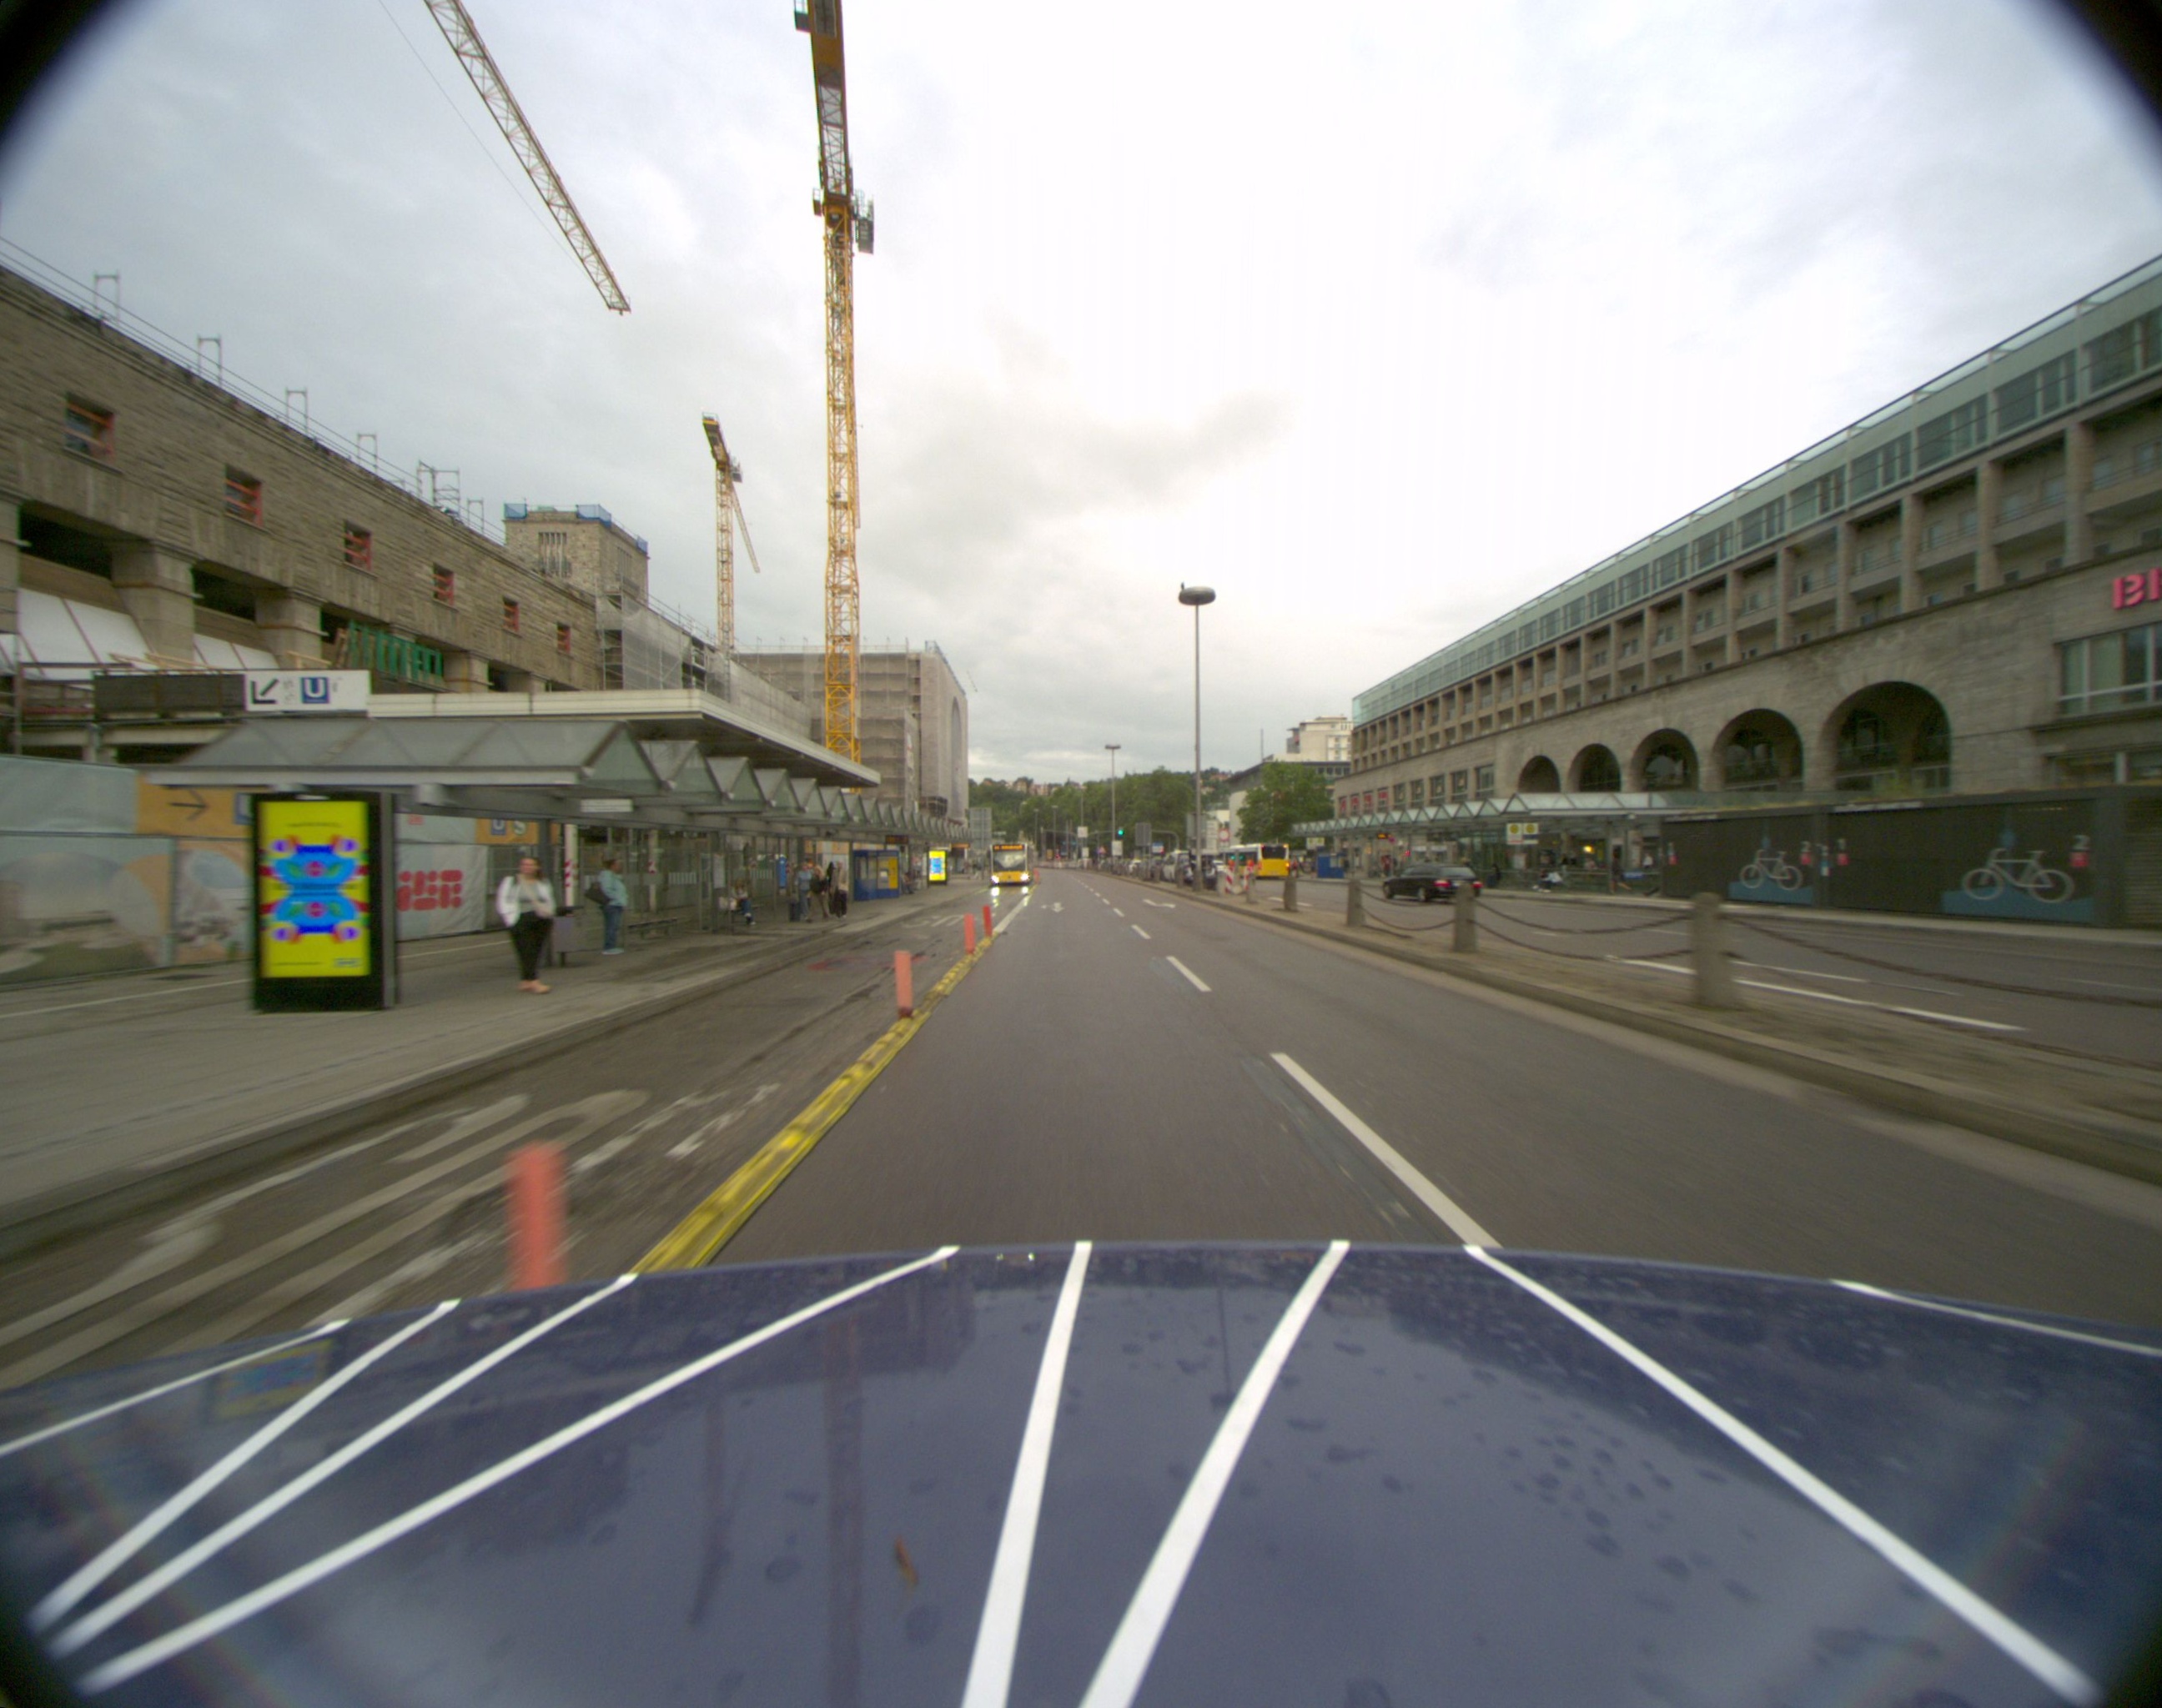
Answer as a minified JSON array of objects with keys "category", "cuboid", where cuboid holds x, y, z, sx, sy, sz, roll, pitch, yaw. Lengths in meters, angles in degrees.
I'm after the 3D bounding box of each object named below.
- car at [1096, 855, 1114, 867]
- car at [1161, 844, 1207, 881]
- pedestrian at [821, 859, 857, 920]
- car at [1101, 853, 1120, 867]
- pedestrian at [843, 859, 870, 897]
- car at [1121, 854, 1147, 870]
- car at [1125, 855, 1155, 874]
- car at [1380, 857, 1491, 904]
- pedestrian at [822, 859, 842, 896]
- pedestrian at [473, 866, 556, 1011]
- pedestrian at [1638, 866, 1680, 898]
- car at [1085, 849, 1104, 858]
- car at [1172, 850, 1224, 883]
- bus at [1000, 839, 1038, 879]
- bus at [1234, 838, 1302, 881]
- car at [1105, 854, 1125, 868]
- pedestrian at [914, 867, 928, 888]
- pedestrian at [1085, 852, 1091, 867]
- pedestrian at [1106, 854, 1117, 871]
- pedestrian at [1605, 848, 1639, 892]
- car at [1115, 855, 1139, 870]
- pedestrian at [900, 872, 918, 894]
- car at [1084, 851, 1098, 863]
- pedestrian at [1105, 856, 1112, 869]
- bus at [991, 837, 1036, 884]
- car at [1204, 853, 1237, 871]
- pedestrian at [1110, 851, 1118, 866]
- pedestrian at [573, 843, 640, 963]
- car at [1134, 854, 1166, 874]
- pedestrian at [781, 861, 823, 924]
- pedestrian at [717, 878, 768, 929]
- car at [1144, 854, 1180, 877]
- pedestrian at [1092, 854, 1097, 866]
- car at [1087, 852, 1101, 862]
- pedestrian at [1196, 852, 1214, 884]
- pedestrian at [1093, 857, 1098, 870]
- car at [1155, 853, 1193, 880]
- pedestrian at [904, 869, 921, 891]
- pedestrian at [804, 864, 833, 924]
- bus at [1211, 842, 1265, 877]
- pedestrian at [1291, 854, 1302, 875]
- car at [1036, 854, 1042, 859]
[{"category":"car","cuboid":[3.335,0.981,106.631,2.020,1.611,4.841,-1,0,-3]},{"category":"car","cuboid":[6.393,0.532,47.772,1.999,2.166,5.543,0,0,-1]},{"category":"pedestrian","cuboid":[-6.849,0.997,21.570,0.764,1.683,0.822,-1,0,-2]},{"category":"car","cuboid":[3.786,0.742,97.287,1.935,1.680,4.680,1,0,-3]},{"category":"pedestrian","cuboid":[-9.768,1.047,33.037,0.908,1.597,0.745,-2,0,-1]},{"category":"car","cuboid":[5.244,0.758,76.340,1.935,1.567,5.010,1,0,-4]},{"category":"car","cuboid":[5.403,0.936,70.193,1.982,1.649,5.190,1,0,-4]},{"category":"car","cuboid":[13.245,0.933,28.799,1.998,1.607,4.978,0,0,1]},{"category":"pedestrian","cuboid":[-10.699,1.000,32.651,0.709,1.598,0.729,0,0,-10]},{"category":"pedestrian","cuboid":[-6.916,0.991,9.312,0.704,1.669,0.721,-1,0,-28]},{"category":"pedestrian","cuboid":[22.130,1.050,29.093,0.581,1.175,1.261,-2,0,-2]},{"category":"car","cuboid":[3.524,-0.070,194.481,4.831,2.001,2.036,-2,-1,-1]},{"category":"car","cuboid":[6.380,0.674,41.946,1.999,1.712,4.781,0,0,-1]},{"category":"bus","cuboid":[-5.152,0.390,64.782,2.763,3.051,9.077,-2,0,-2]},{"category":"bus","cuboid":[16.113,0.453,66.323,2.885,3.439,10.572,-1,0,-2]},{"category":"car","cuboid":[4.144,0.824,92.149,1.935,1.680,4.680,1,0,-3]},{"category":"pedestrian","cuboid":[-9.240,1.336,43.852,0.666,1.180,0.666,0,0,-2]},{"category":"pedestrian","cuboid":[0.908,0.717,101.202,0.725,1.996,0.772,-2,0,-3]},{"category":"pedestrian","cuboid":[3.329,0.937,82.704,1.053,1.758,0.616,-1,1,-3]},{"category":"pedestrian","cuboid":[23.116,0.669,32.480,0.721,1.845,0.930,-2,0,-2]},{"category":"car","cuboid":[4.990,0.904,82.601,1.935,1.567,5.259,1,0,-3]},{"category":"pedestrian","cuboid":[-8.504,1.435,37.495,0.729,1.059,0.709,0,0,-2]},{"category":"car","cuboid":[1.643,0.571,131.856,1.909,1.887,4.521,-2,0,-5]},{"category":"pedestrian","cuboid":[3.956,1.241,108.291,0.785,1.765,0.606,2,0,-15]},{"category":"bus","cuboid":[-4.814,0.408,55.733,2.763,3.048,8.990,-2,0,-2]},{"category":"car","cuboid":[12.797,0.721,69.906,1.967,1.555,4.834,1,-1,-2]},{"category":"pedestrian","cuboid":[3.627,0.515,83.598,0.725,1.597,0.996,-2,0,-3]},{"category":"pedestrian","cuboid":[-8.442,0.844,13.525,0.806,2.038,0.924,-2,1,-41]},{"category":"car","cuboid":[5.778,0.814,64.415,1.935,1.567,5.050,1,0,-4]},{"category":"pedestrian","cuboid":[-7.601,1.023,20.714,0.810,1.650,0.804,-2,0,-2]},{"category":"pedestrian","cuboid":[-8.736,1.268,19.646,0.915,1.223,0.840,-2,0,-1]},{"category":"car","cuboid":[6.137,0.852,58.114,1.935,1.689,4.883,1,0,-3]},{"category":"pedestrian","cuboid":[1.895,0.822,106.226,0.653,1.701,0.593,-2,0,-4]},{"category":"car","cuboid":[2.154,0.530,126.443,1.909,1.689,4.498,-2,0,-5]},{"category":"pedestrian","cuboid":[6.385,0.730,39.169,0.762,1.643,0.763,0,0,-2]},{"category":"pedestrian","cuboid":[1.902,1.220,100.209,0.700,1.744,0.711,-1,0,-3]},{"category":"car","cuboid":[6.404,0.825,52.947,1.935,1.795,4.581,1,0,-2]},{"category":"pedestrian","cuboid":[-8.493,1.298,38.311,0.729,1.059,0.808,0,0,-2]},{"category":"pedestrian","cuboid":[-6.903,1.038,20.014,0.522,1.557,0.728,-1,0,-2]},{"category":"bus","cuboid":[15.680,0.522,76.855,2.885,3.356,10.572,0,0,-2]},{"category":"pedestrian","cuboid":[17.908,0.835,63.162,0.625,1.715,0.856,-2,0,-2]},{"category":"car","cuboid":[-13.041,0.716,234.804,1.683,1.533,3.173,0,-1,-3]}]
